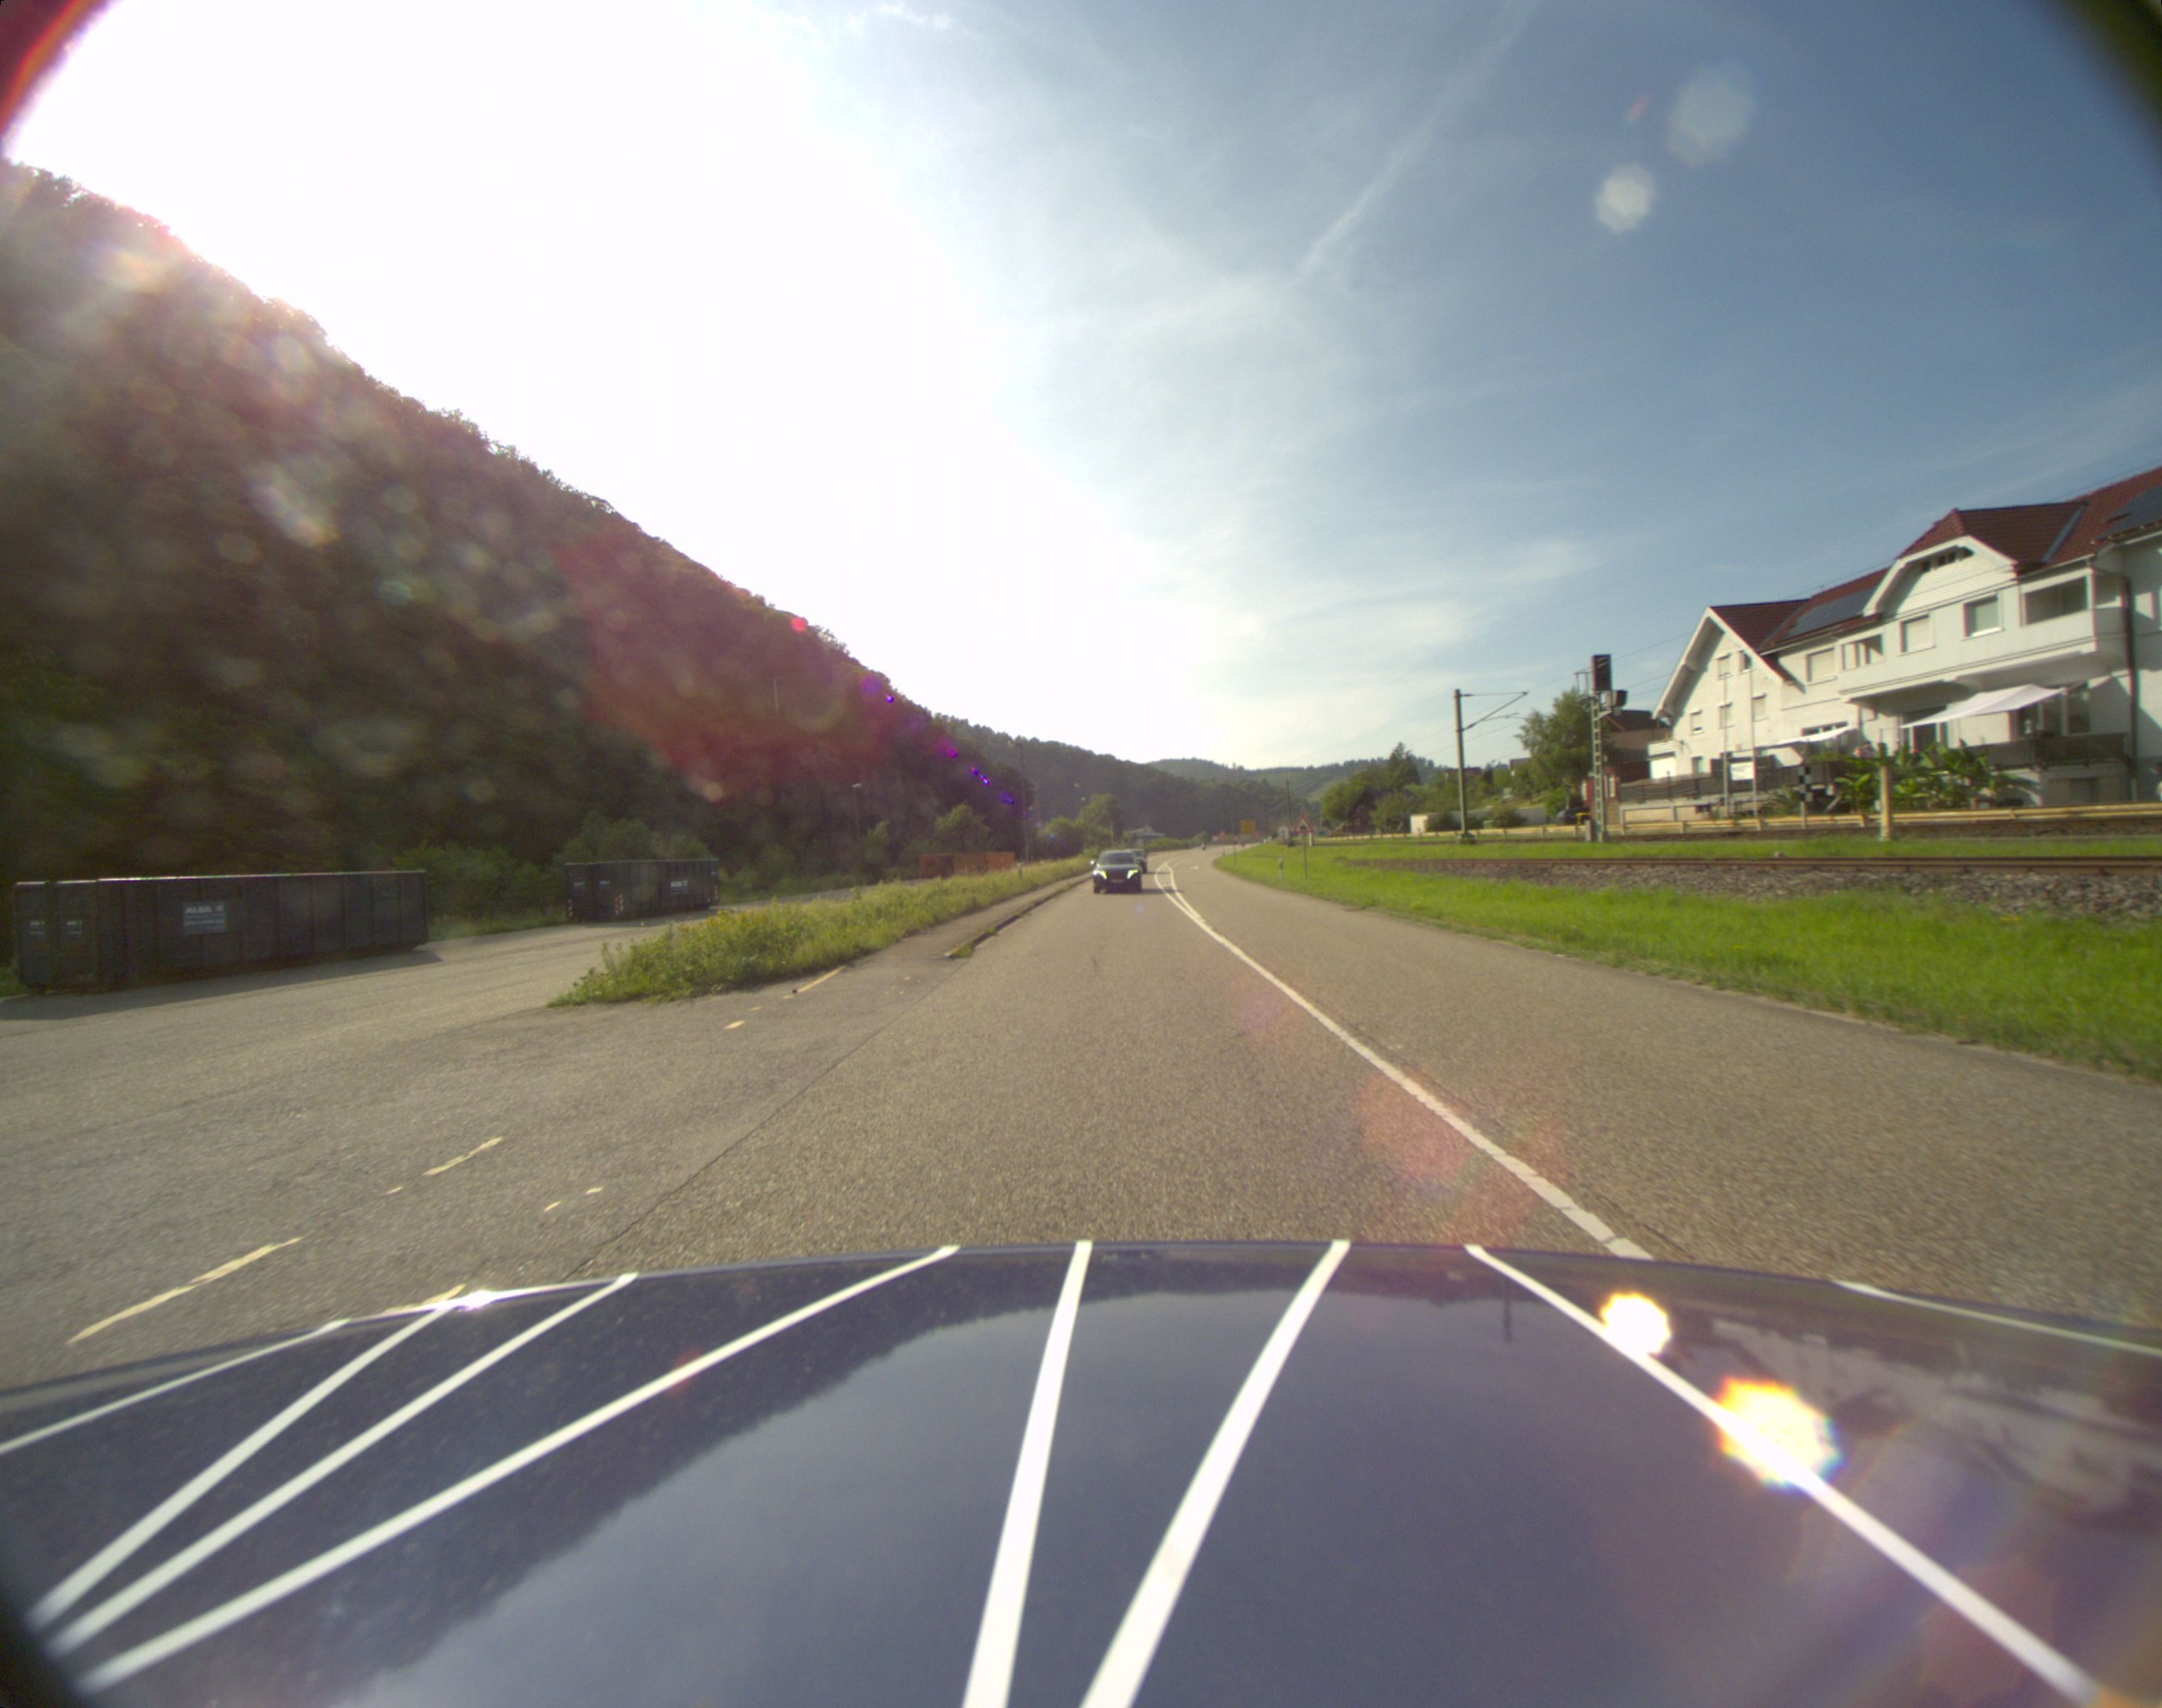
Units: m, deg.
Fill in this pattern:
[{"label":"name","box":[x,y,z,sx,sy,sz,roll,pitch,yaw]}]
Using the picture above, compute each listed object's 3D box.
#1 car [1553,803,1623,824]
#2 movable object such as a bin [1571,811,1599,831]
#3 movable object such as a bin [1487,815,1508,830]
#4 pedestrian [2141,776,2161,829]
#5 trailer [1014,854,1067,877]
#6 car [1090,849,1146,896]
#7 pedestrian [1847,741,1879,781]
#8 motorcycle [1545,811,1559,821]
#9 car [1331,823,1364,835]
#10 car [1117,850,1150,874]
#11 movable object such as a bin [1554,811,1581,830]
[{"label":"car","box":[38.535,-3.059,57.855,4.100,1.263,1.738,-4,0,16]},{"label":"movable object such as a bin","box":[33.763,-2.207,50.919,1.092,1.185,1.143,-4,1,6]},{"label":"movable object such as a bin","box":[34.169,-2.572,62.346,1.142,1.185,1.093,-4,1,1]},{"label":"pedestrian","box":[32.956,-1.581,23.058,0.677,1.607,0.608,-4,1,-2]},{"label":"trailer","box":[-3.334,0.894,65.883,2.797,1.466,9.891,-5,0,7]},{"label":"car","box":[1.566,0.692,30.945,1.998,1.661,5.512,-2,0,4]},{"label":"pedestrian","box":[33.782,-3.999,32.811,0.608,1.607,0.678,-4,1,5]},{"label":"motorcycle","box":[51.354,-4.123,82.849,0.664,0.987,1.744,-4,1,11]},{"label":"car","box":[64.382,-6.028,183.479,7.070,2.442,2.953,-4,0,28]},{"label":"car","box":[3.700,0.505,52.971,1.918,1.455,4.002,-4,0,8]},{"label":"movable object such as a bin","box":[32.586,-2.232,50.943,1.092,1.185,1.143,-4,1,6]}]
